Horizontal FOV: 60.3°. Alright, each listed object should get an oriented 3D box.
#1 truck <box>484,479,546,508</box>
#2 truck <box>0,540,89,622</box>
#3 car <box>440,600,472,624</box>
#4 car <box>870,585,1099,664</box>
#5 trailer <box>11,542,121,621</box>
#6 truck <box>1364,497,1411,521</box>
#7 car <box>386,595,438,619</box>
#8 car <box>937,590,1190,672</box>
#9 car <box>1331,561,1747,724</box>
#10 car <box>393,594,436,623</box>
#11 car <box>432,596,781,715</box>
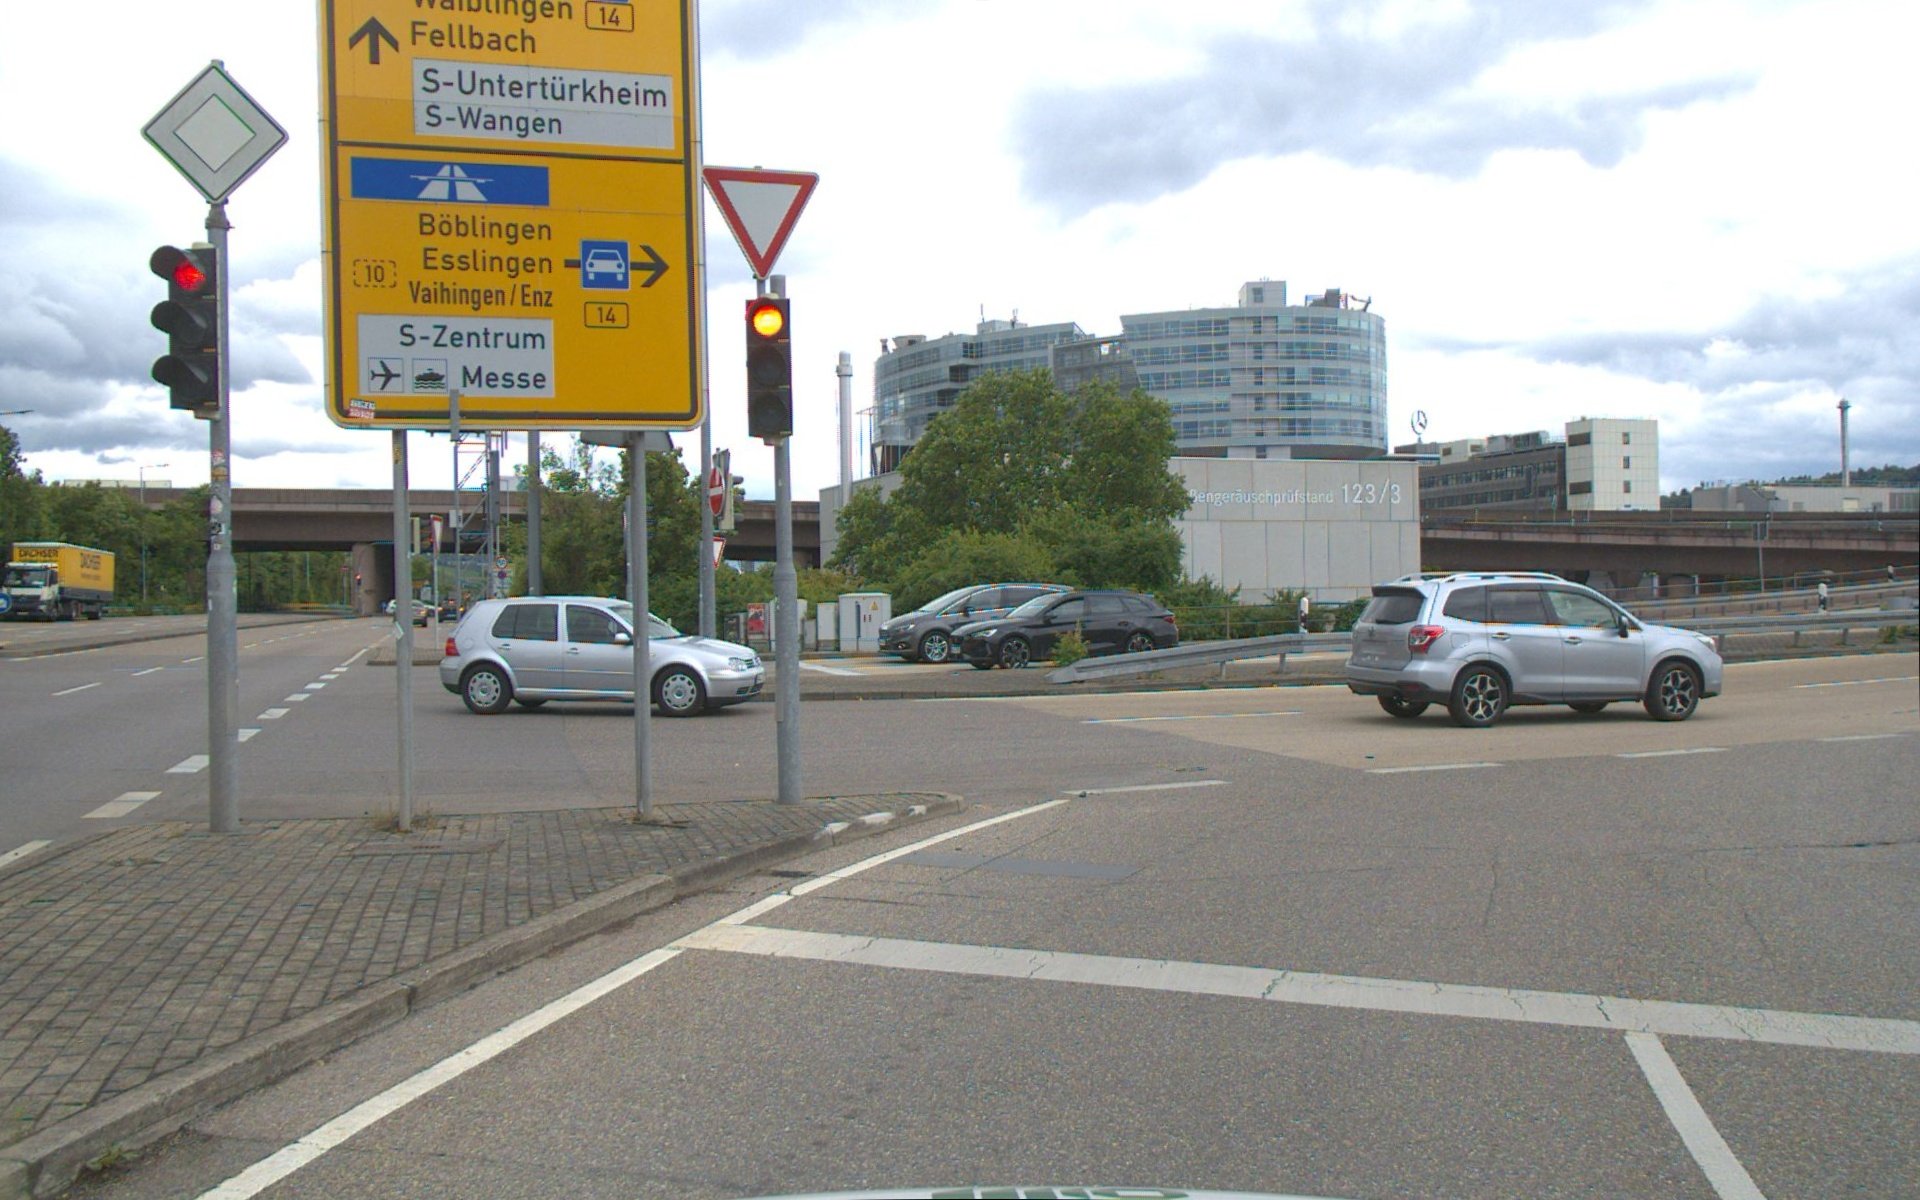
[{"bbox_3d":[-39.869,-9.526,148.192,4.953,2.362,2.001,1,0,4],"label":"truck"},{"bbox_3d":[-49.545,-1.032,89.380,2.824,4.155,6.461,2,0,-15],"label":"truck"},{"bbox_3d":[-33.397,0.788,109.705,1.961,1.490,4.091,1,-2,-16],"label":"car"},{"bbox_3d":[0.513,0.497,35.876,4.608,1.599,1.945,0,1,-20],"label":"car"},{"bbox_3d":[-50.939,-1.076,94.588,2.824,4.155,11.381,2,0,-15],"label":"trailer"},{"bbox_3d":[45.852,-9.799,177.480,4.493,2.209,2.000,3,0,1],"label":"truck"},{"bbox_3d":[-47.476,0.590,143.230,3.914,1.892,1.996,3,0,-10],"label":"car"},{"bbox_3d":[2.007,0.559,32.118,4.542,1.482,1.943,0,1,-23],"label":"car"},{"bbox_3d":[6.811,0.445,19.555,4.464,1.767,1.723,-1,1,-15],"label":"car"},{"bbox_3d":[-29.515,0.467,89.632,1.961,1.467,4.092,1,-2,-15],"label":"car"},{"bbox_3d":[-4.423,0.680,21.013,3.967,1.425,1.731,0,1,7],"label":"car"}]
